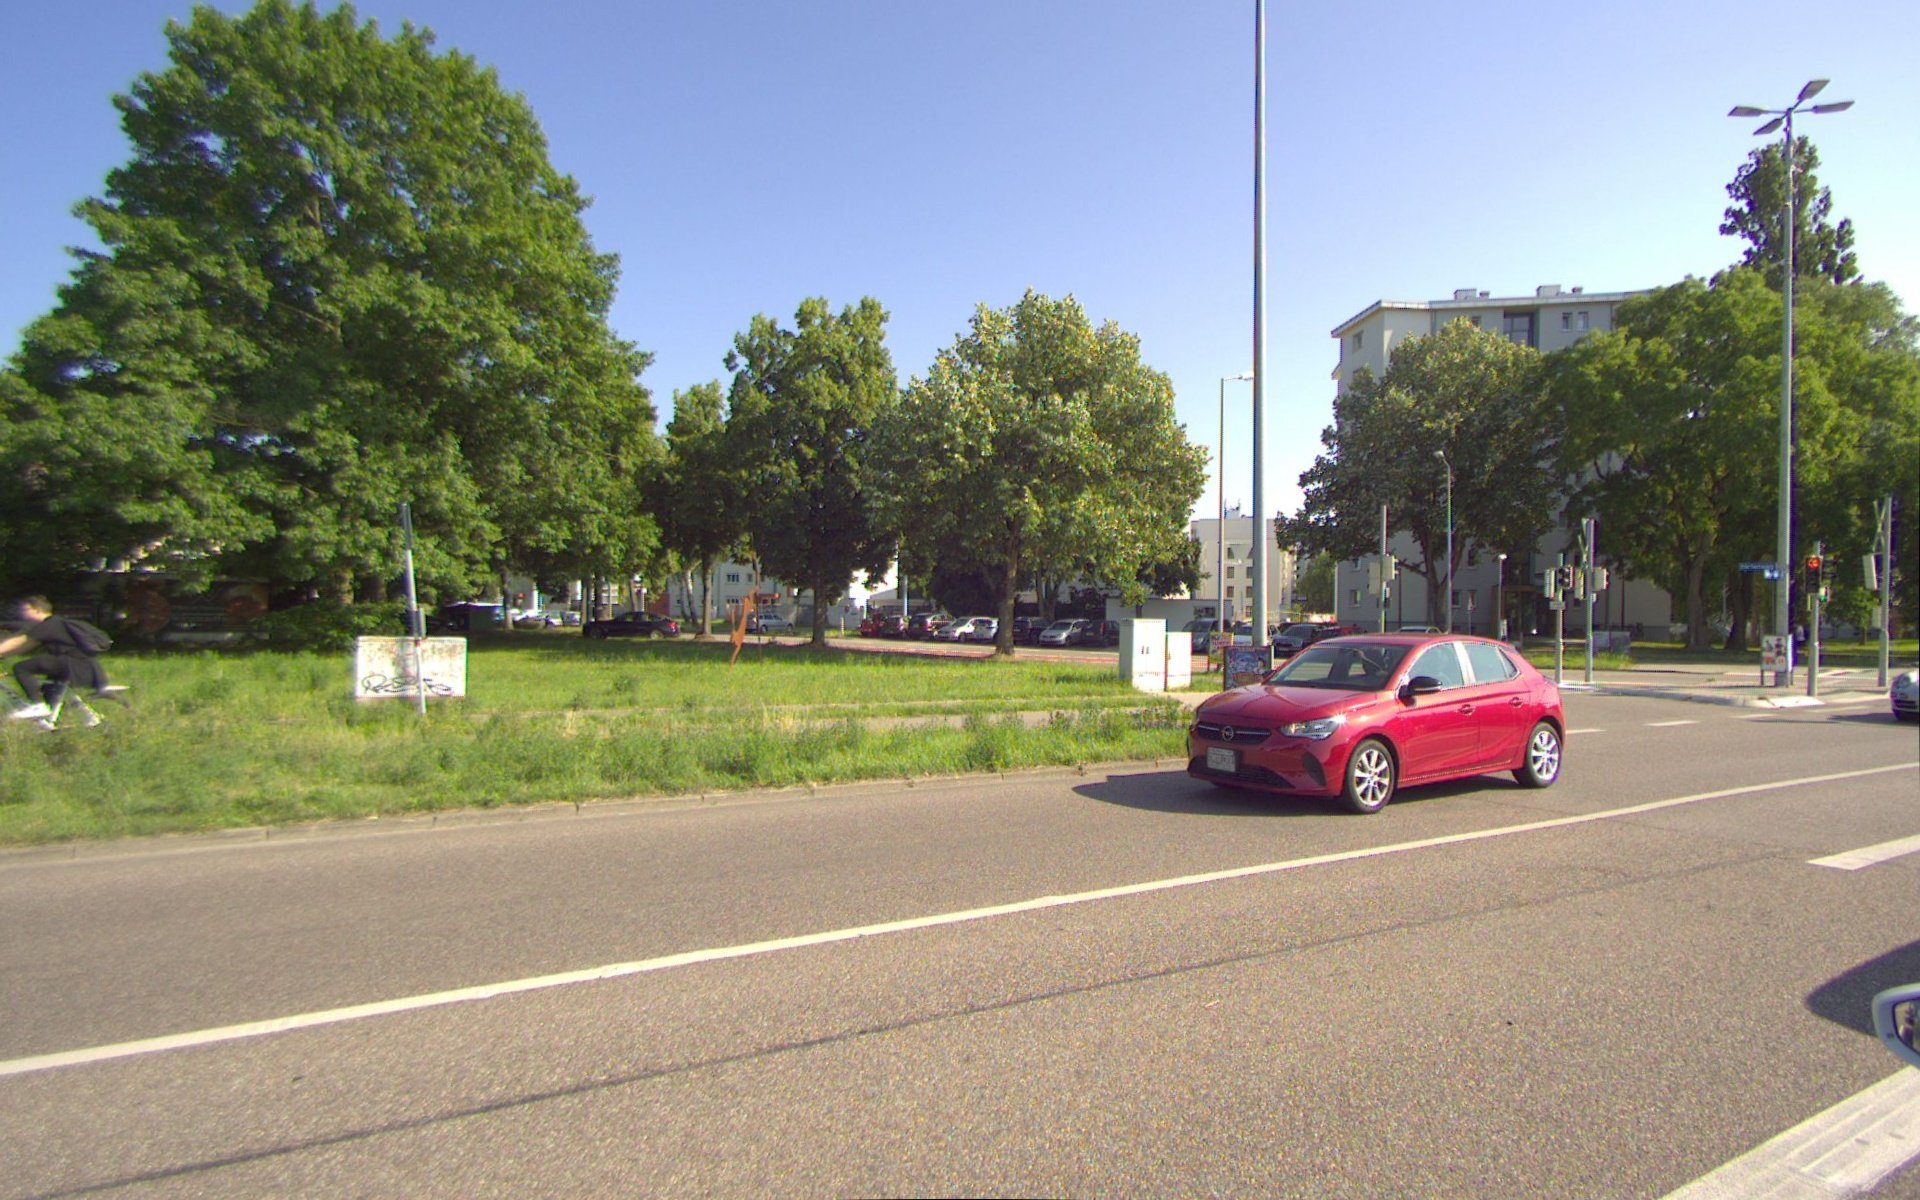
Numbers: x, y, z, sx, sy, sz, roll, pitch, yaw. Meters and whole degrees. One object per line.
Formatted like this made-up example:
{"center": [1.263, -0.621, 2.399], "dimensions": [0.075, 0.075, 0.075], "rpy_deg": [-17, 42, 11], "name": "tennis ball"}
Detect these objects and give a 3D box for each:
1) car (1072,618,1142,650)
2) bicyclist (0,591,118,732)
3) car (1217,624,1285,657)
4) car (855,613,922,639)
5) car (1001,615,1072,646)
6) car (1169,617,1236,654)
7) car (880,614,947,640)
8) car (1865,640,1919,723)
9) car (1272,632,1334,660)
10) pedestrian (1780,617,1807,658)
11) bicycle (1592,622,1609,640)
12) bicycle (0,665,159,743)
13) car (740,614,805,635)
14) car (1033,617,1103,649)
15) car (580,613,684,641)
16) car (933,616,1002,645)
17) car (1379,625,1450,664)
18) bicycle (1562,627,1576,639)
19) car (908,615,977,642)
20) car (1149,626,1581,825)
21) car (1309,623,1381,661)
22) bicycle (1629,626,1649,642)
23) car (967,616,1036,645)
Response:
{"center": [8.425, 1.893, 57.157], "dimensions": [1.758, 1.497, 4.791], "rpy_deg": [0, 2, 39], "name": "car"}
{"center": [-9.791, 0.640, 10.756], "dimensions": [1.059, 1.448, 0.634], "rpy_deg": [1, 0, -29], "name": "bicyclist"}
{"center": [14.703, 2.020, 50.567], "dimensions": [1.759, 1.541, 3.979], "rpy_deg": [0, -1, 41], "name": "car"}
{"center": [-4.806, 1.750, 68.348], "dimensions": [1.758, 1.497, 4.791], "rpy_deg": [0, 2, 39], "name": "car"}
{"center": [4.610, 1.798, 59.886], "dimensions": [1.758, 1.497, 4.791], "rpy_deg": [0, 3, 39], "name": "car"}
{"center": [12.680, 1.848, 52.404], "dimensions": [1.759, 1.835, 3.979], "rpy_deg": [0, -1, 41], "name": "car"}
{"center": [-3.042, 1.757, 66.880], "dimensions": [1.758, 1.497, 4.791], "rpy_deg": [0, 2, 39], "name": "car"}
{"center": [17.505, 1.369, 17.220], "dimensions": [4.236, 1.327, 1.771], "rpy_deg": [1, -1, -30], "name": "car"}
{"center": [16.638, 2.204, 48.680], "dimensions": [1.445, 1.209, 3.765], "rpy_deg": [0, -1, 43], "name": "car"}
{"center": [35.992, 1.629, 43.363], "dimensions": [0.693, 1.736, 0.623], "rpy_deg": [1, 0, -18], "name": "pedestrian"}
{"center": [40.762, 1.992, 63.907], "dimensions": [0.601, 1.080, 1.916], "rpy_deg": [1, -2, 24], "name": "bicycle"}
{"center": [-9.736, 1.095, 10.697], "dimensions": [1.812, 0.763, 0.452], "rpy_deg": [1, -1, -30], "name": "bicycle"}
{"center": [-14.198, 1.863, 76.319], "dimensions": [1.760, 1.497, 4.786], "rpy_deg": [0, -1, 43], "name": "car"}
{"center": [6.269, 1.838, 57.810], "dimensions": [1.758, 1.497, 4.692], "rpy_deg": [0, 3, 39], "name": "car"}
{"center": [-16.253, 1.332, 49.939], "dimensions": [4.682, 1.338, 1.524], "rpy_deg": [1, -1, -8], "name": "car"}
{"center": [0.511, 1.865, 62.704], "dimensions": [1.758, 1.497, 4.791], "rpy_deg": [0, 2, 39], "name": "car"}
{"center": [20.554, 1.960, 45.378], "dimensions": [1.760, 1.459, 3.977], "rpy_deg": [0, 2, 43], "name": "car"}
{"center": [39.365, 2.100, 64.943], "dimensions": [0.574, 0.718, 2.236], "rpy_deg": [1, 0, 26], "name": "bicycle"}
{"center": [-1.061, 1.815, 64.628], "dimensions": [1.758, 1.497, 4.791], "rpy_deg": [0, 2, 39], "name": "car"}
{"center": [3.829, 1.008, 9.384], "dimensions": [3.868, 1.497, 1.771], "rpy_deg": [1, -1, -30], "name": "car"}
{"center": [18.175, 1.940, 47.390], "dimensions": [1.761, 1.435, 3.975], "rpy_deg": [0, 3, 44], "name": "car"}
{"center": [42.677, 2.130, 63.170], "dimensions": [0.658, 0.932, 2.404], "rpy_deg": [1, -1, 26], "name": "bicycle"}
{"center": [2.593, 1.819, 61.559], "dimensions": [1.758, 1.497, 4.755], "rpy_deg": [0, 2, 39], "name": "car"}
